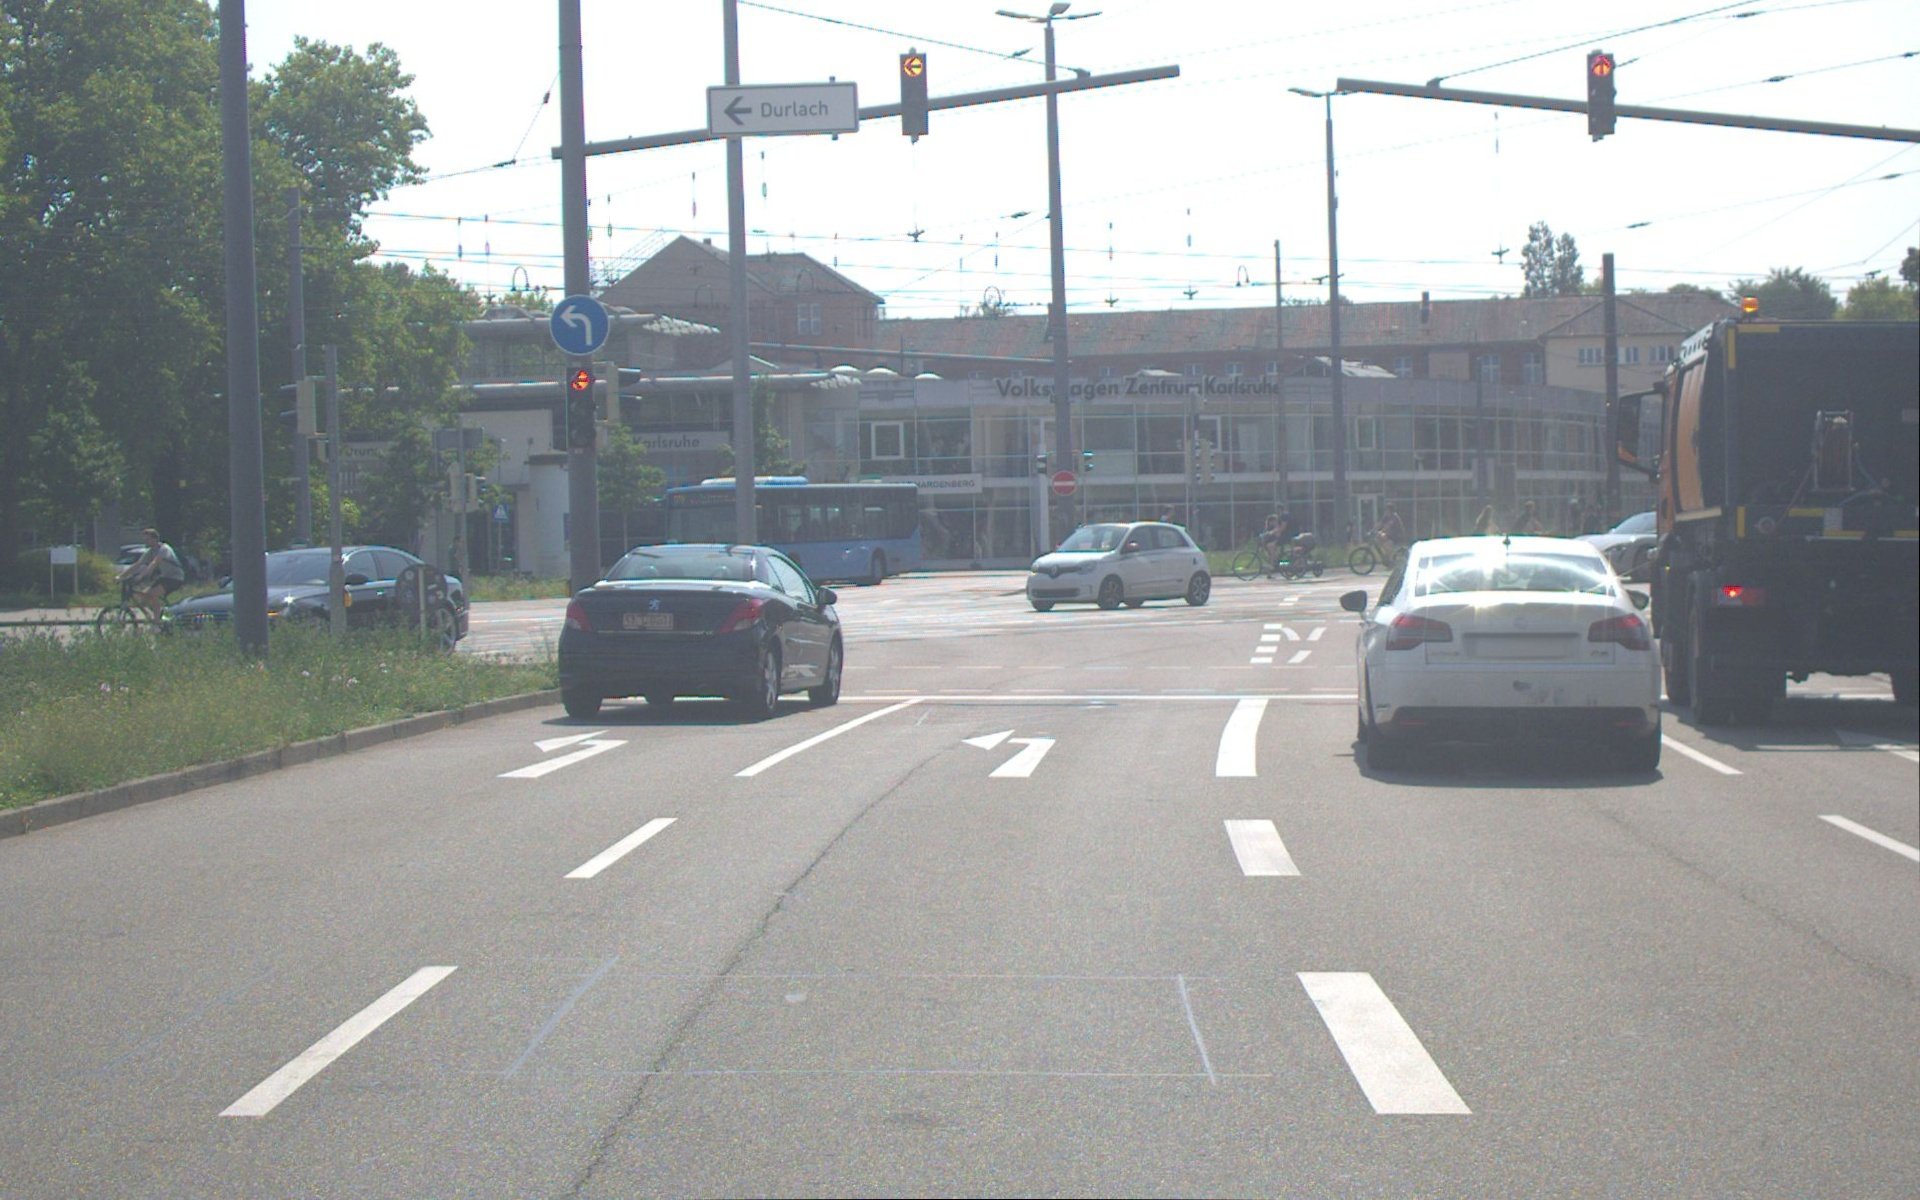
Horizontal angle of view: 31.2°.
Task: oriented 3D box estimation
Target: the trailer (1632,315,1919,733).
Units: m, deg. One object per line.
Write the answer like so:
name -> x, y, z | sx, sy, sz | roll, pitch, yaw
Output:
trailer -> 6.973, -0.632, 27.809 | 2.463, 2.997, 6.324 | 0, 2, 6

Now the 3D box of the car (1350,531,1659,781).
car -> 3.502, 0.294, 22.753 | 1.758, 1.450, 4.425 | -1, 2, 6

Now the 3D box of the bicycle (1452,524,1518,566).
bicycle -> 12.956, -1.361, 84.841 | 1.590, 0.981, 0.507 | -2, 1, -25

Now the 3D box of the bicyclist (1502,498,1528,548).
bicyclist -> 13.407, -1.856, 82.980 | 0.504, 1.184, 0.507 | -1, 1, 22

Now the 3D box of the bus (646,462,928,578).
bus -> -4.546, -2.258, 94.324 | 3.057, 2.921, 11.840 | -1, 2, 22

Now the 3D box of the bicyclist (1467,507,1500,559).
bicyclist -> 12.906, -1.652, 84.819 | 0.594, 1.243, 0.507 | -2, 1, -26

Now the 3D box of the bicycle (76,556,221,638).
bicycle -> -11.943, -0.053, 50.632 | 0.698, 1.133, 2.039 | -1, 1, 40

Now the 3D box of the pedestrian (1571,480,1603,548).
pedestrian -> 16.259, -2.220, 89.160 | 0.622, 1.746, 0.628 | -2, 1, -8

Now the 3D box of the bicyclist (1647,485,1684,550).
bicyclist -> 16.504, -1.930, 80.416 | 0.665, 1.503, 0.714 | -1, 1, 26

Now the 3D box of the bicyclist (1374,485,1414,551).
bicyclist -> 10.861, -2.042, 85.998 | 0.761, 1.628, 0.763 | -2, 1, -10

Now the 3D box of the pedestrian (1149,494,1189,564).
pedestrian -> 5.236, -1.780, 86.094 | 0.784, 1.746, 0.808 | -1, 1, 20

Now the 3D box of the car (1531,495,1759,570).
car -> 14.004, -1.380, 70.168 | 4.573, 1.395, 1.946 | -2, 2, -36

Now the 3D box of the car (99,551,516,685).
car -> -7.903, 0.193, 41.851 | 4.551, 1.433, 1.999 | -3, 1, -39

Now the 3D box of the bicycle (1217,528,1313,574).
bicycle -> 7.526, -1.208, 84.770 | 2.196, 1.083, 0.763 | -2, 1, -13

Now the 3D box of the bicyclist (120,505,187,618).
bicyclist -> -11.893, -0.564, 50.701 | 0.692, 1.644, 0.618 | 0, 2, 39

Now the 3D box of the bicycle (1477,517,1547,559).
bicycle -> 13.332, -1.494, 83.015 | 1.592, 0.981, 0.507 | -1, 1, 22

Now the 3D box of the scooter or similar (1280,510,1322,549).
scooter or similar -> 8.581, -1.779, 86.489 | 0.835, 0.971, 0.793 | -2, 1, -11

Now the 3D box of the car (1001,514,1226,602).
car -> 2.741, -0.744, 60.513 | 1.774, 1.420, 4.057 | 0, 2, 41

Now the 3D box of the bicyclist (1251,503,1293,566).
bicyclist -> 7.685, -1.614, 84.796 | 0.797, 1.536, 0.763 | -2, 1, -13

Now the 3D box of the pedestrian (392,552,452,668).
pedestrian -> -6.078, 0.111, 38.846 | 0.595, 1.264, 0.505 | -2, 4, -13

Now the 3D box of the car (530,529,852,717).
car -> -2.137, 0.142, 28.455 | 1.758, 1.399, 3.979 | 0, 2, 9

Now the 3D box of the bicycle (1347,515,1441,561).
bicycle -> 10.861, -1.560, 86.014 | 2.196, 1.083, 0.763 | -2, 1, -10

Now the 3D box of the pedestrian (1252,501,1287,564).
pedestrian -> 7.769, -1.695, 86.326 | 0.635, 1.555, 0.748 | -2, 1, -11
